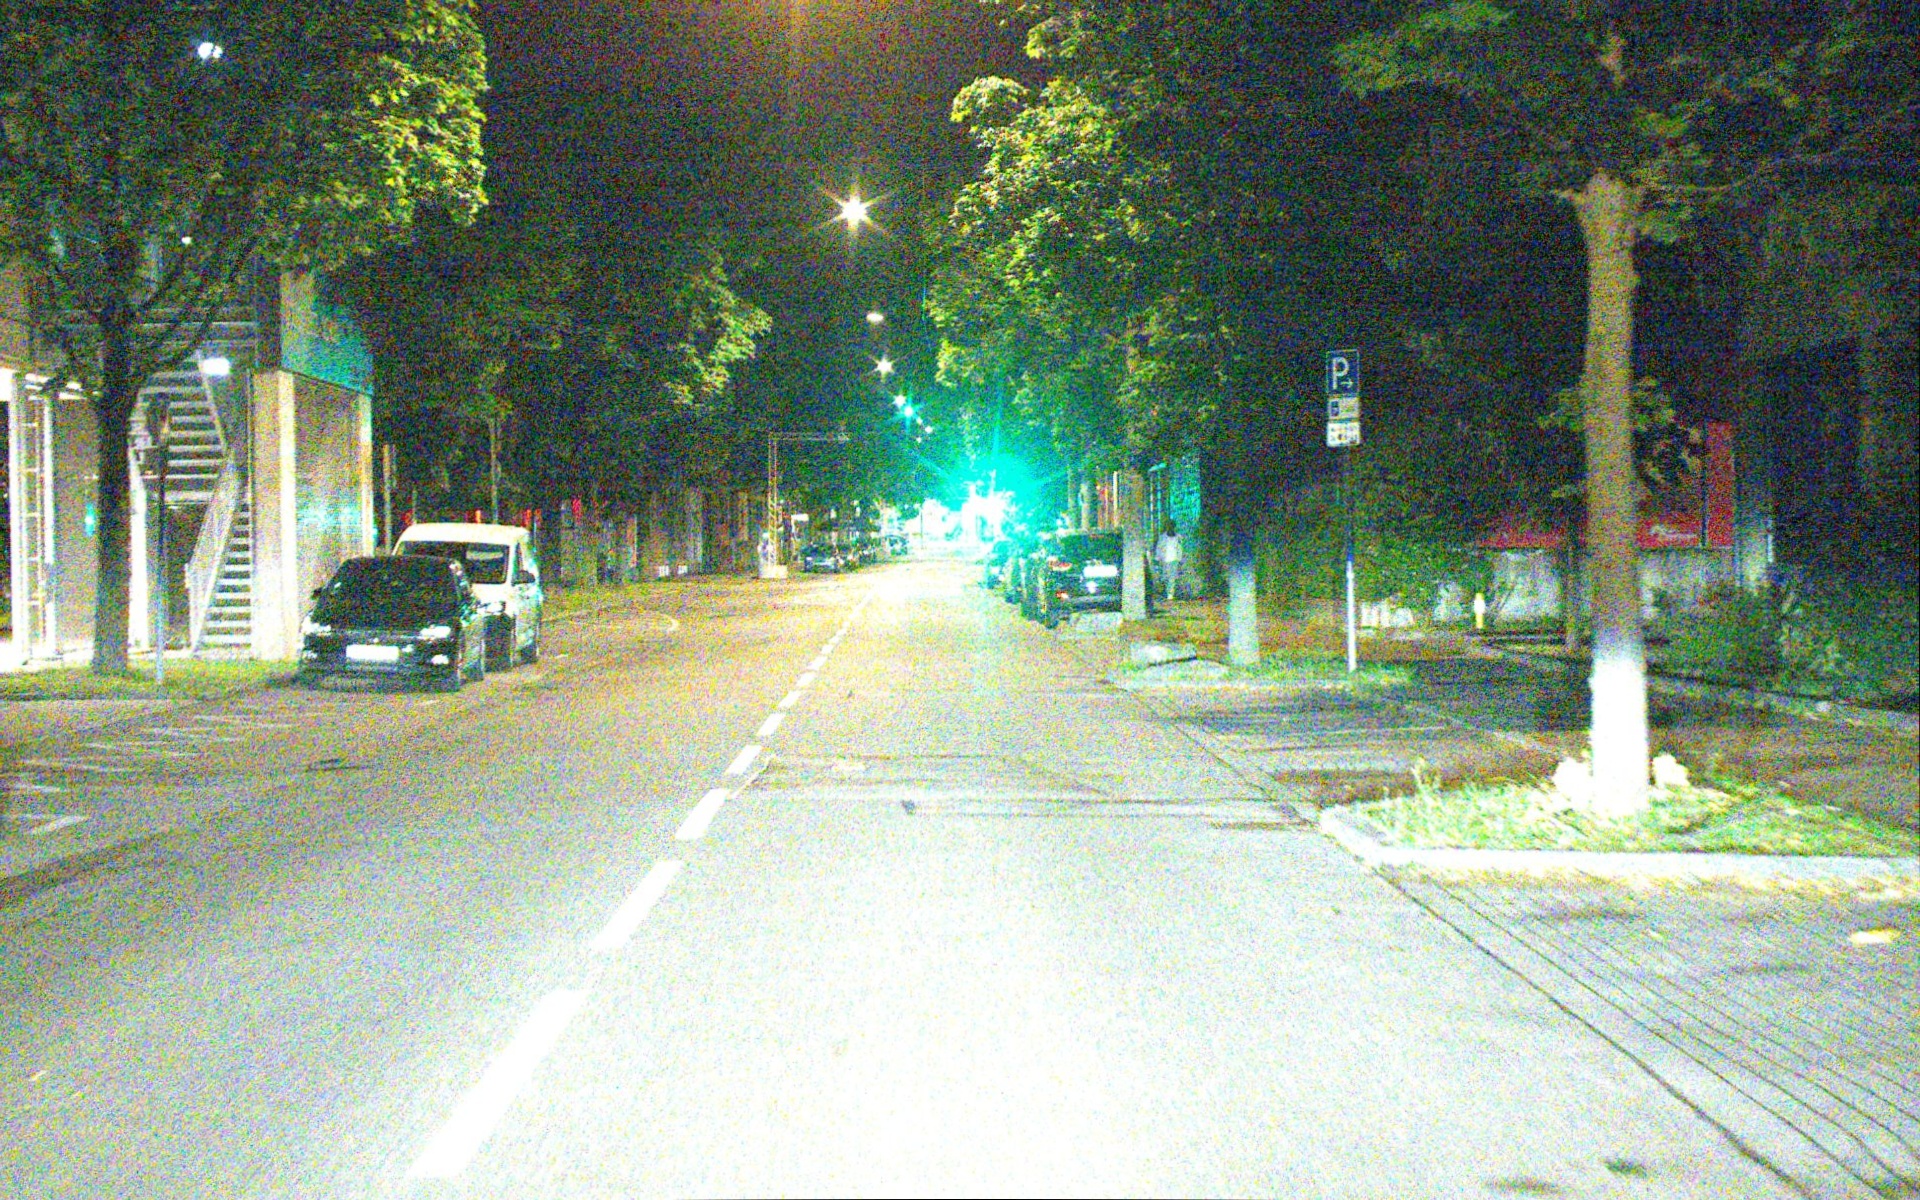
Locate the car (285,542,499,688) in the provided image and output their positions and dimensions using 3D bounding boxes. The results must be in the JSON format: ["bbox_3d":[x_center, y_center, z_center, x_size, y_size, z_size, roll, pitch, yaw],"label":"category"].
[{"bbox_3d":[-6.236,0.125,38.078,1.700,1.428,3.829,2,1,0],"label":"car"}]

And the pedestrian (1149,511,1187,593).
[{"bbox_3d":[4.446,-1.031,73.601,0.705,1.716,0.821,-2,1,0],"label":"pedestrian"}]

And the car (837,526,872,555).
[{"bbox_3d":[-5.539,-3.132,180.861,1.740,1.411,3.753,0,3,0],"label":"car"}]

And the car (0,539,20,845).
[{"bbox_3d":[-5.907,0.491,16.069,1.822,1.593,4.073,2,1,1],"label":"car"}]

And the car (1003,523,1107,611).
[{"bbox_3d":[1.818,-0.647,64.908,1.853,1.599,4.209,-1,1,3],"label":"car"}]

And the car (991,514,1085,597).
[{"bbox_3d":[1.776,-1.042,79.164,1.771,1.800,4.278,-2,1,-3],"label":"car"}]

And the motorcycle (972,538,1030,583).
[{"bbox_3d":[1.188,-1.148,99.309,0.637,1.265,2.060,0,1,34],"label":"motorcycle"}]

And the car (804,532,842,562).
[{"bbox_3d":[-6.627,-2.591,166.684,1.740,1.411,3.752,0,1,0],"label":"car"}]

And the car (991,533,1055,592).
[{"bbox_3d":[1.587,-0.964,87.248,1.520,1.391,3.984,-2,1,0],"label":"car"}]

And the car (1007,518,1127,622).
[{"bbox_3d":[1.792,-0.543,58.698,1.853,1.648,4.209,-2,1,0],"label":"car"}]

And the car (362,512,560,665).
[{"bbox_3d":[-6.353,-0.194,44.189,1.822,1.805,4.210,2,1,1],"label":"car"}]
